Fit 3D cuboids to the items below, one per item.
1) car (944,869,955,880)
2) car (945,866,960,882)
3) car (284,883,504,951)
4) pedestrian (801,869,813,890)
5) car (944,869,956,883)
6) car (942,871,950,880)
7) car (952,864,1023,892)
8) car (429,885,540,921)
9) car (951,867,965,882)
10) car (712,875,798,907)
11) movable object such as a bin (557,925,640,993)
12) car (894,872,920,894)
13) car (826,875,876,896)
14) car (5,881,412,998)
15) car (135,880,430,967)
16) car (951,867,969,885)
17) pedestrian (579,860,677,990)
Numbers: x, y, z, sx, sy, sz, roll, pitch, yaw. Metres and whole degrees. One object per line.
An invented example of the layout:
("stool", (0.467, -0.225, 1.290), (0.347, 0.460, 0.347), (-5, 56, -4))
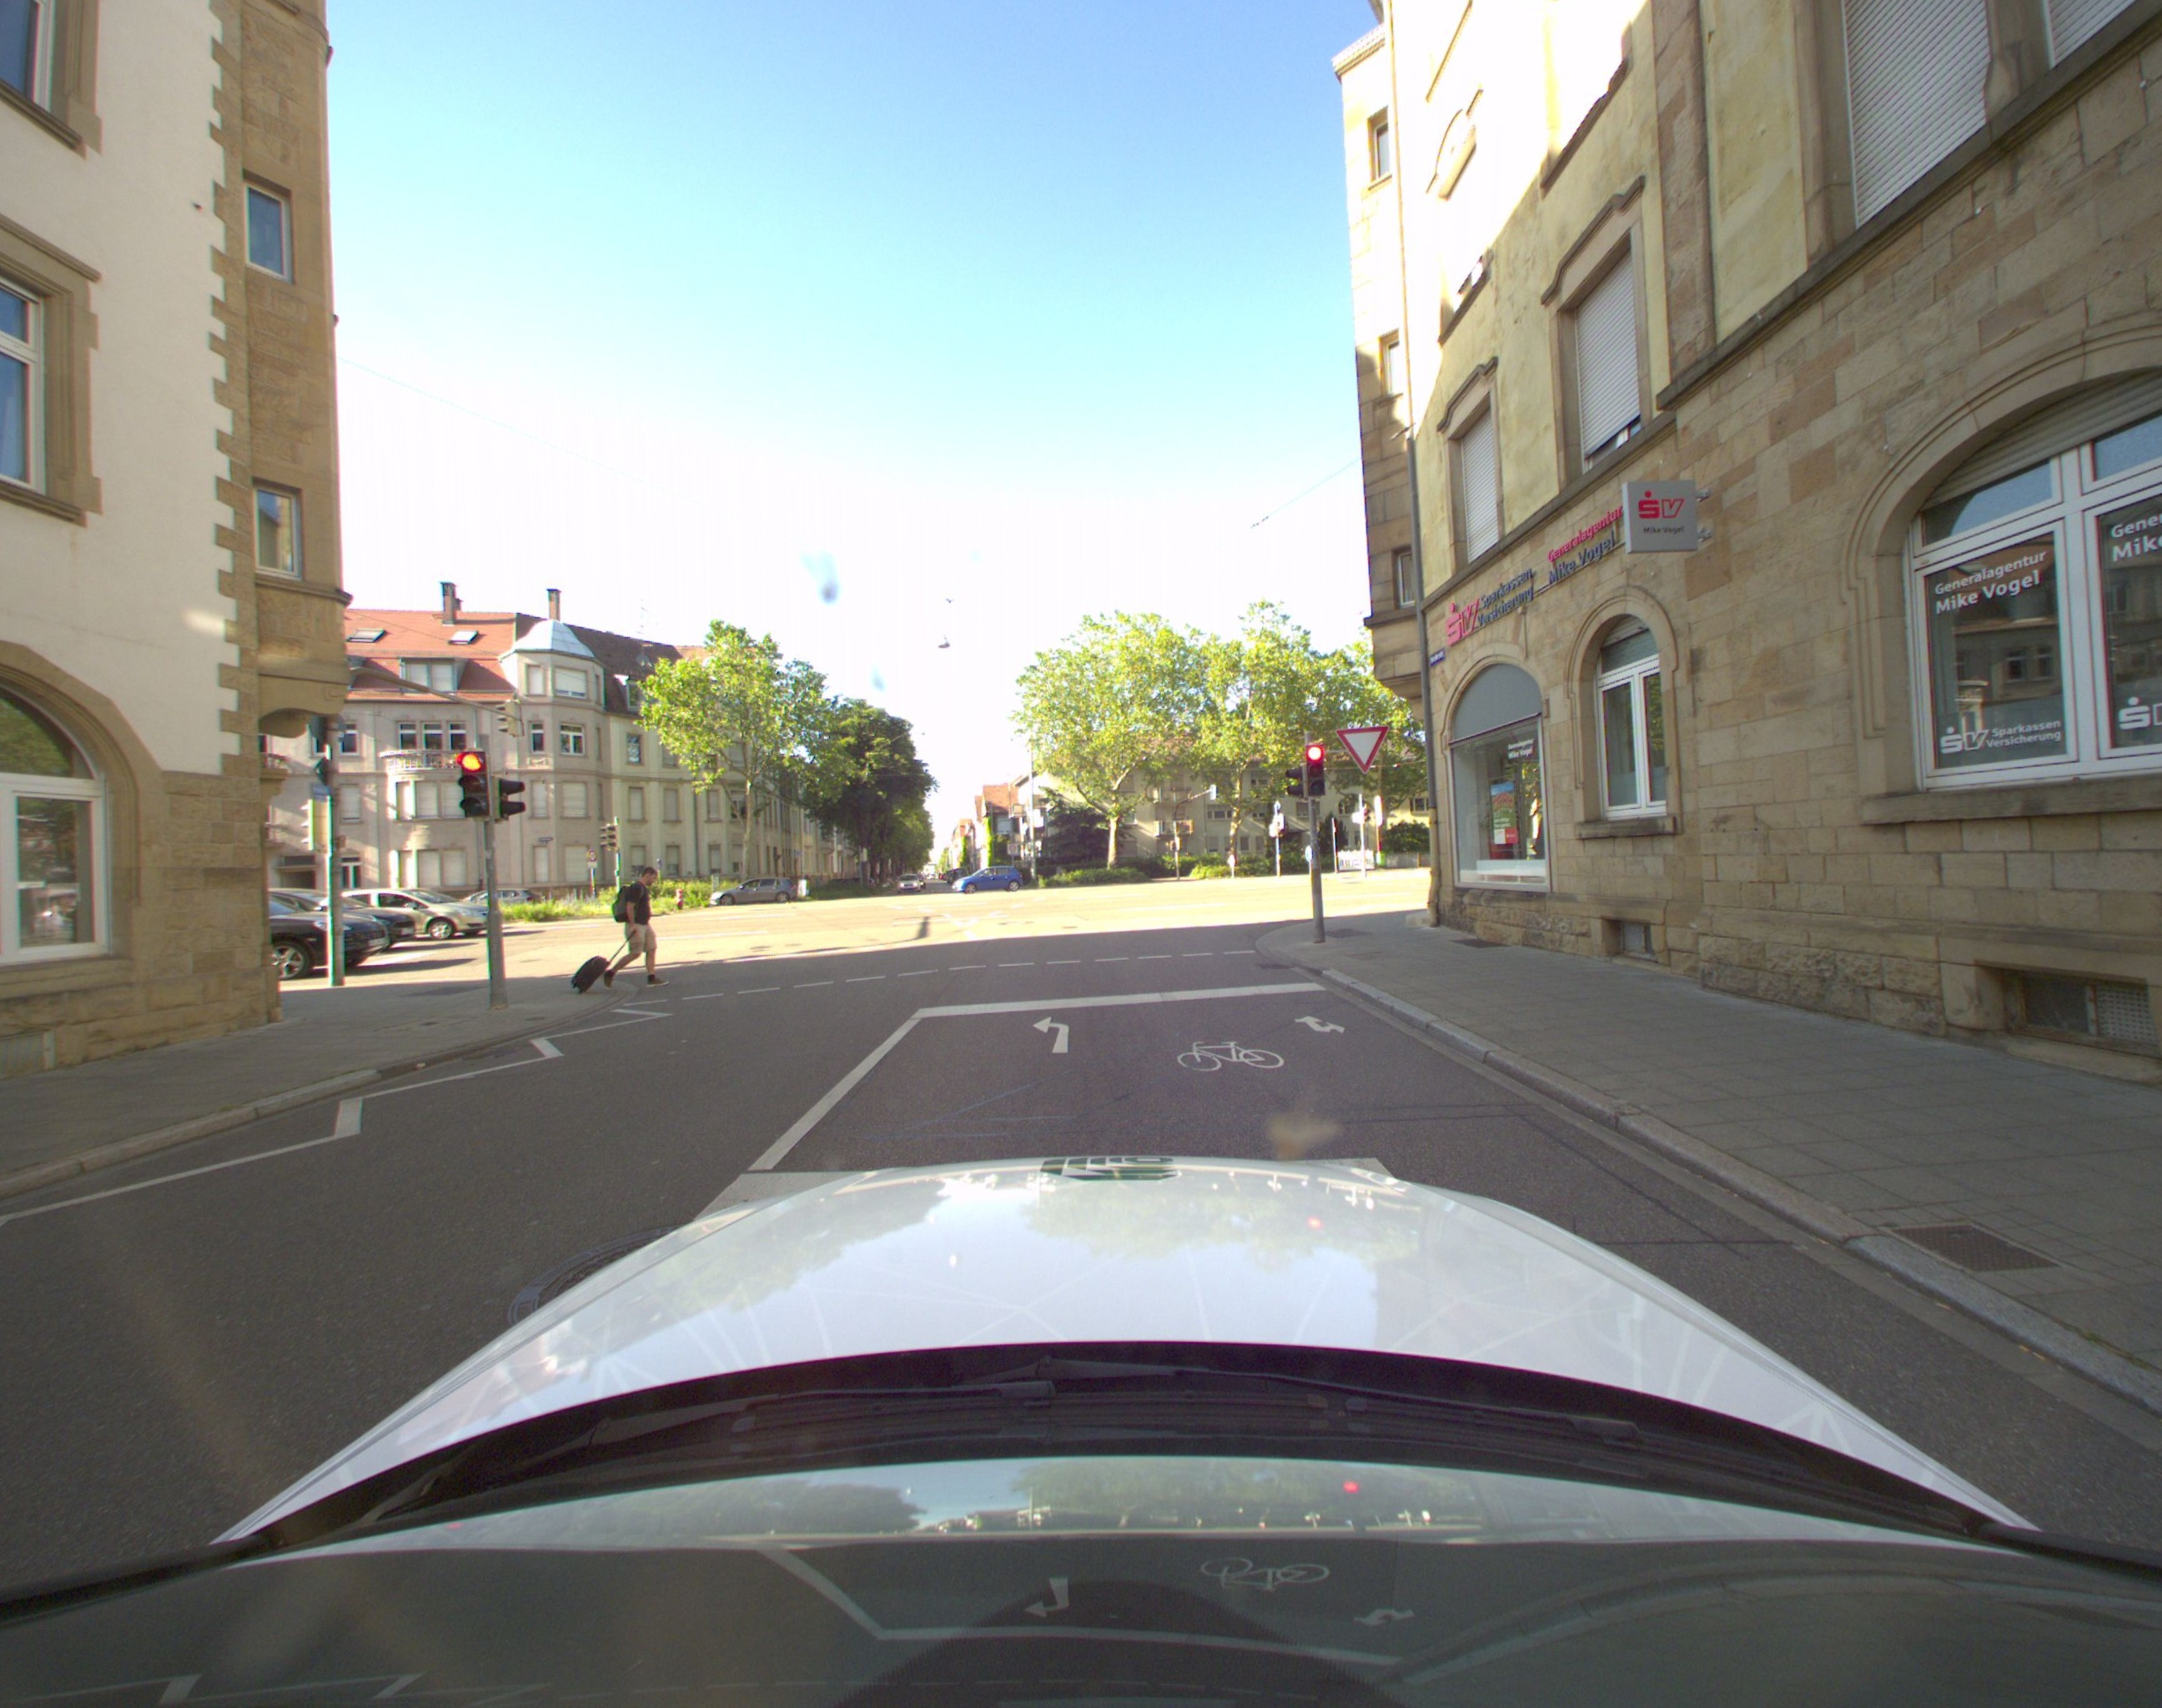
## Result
("car", (-23.752, 3.691, 147.183), (1.773, 1.918, 3.522), (-4, 0, -10))
("car", (-16.564, 2.542, 105.201), (1.773, 1.918, 3.522), (-4, 0, -10))
("car", (-18.590, 1.669, 22.255), (4.207, 1.456, 1.670), (-3, 0, -14))
("pedestrian", (-19.349, 1.798, 57.506), (0.696, 1.442, 0.493), (-1, -1, 28))
("car", (-20.742, 3.468, 128.814), (1.773, 1.918, 3.522), (-4, 0, -10))
("car", (-30.128, 4.794, 181.726), (1.773, 1.918, 3.522), (-4, 0, -10))
("car", (-5.338, 1.372, 46.451), (3.791, 1.400, 1.636), (-2, 0, -18))
("car", (-27.812, 2.273, 38.099), (3.793, 1.400, 1.635), (-2, 0, -20))
("car", (-17.556, 2.884, 115.845), (1.773, 1.918, 3.522), (-4, 0, -10))
("car", (-16.656, 1.855, 41.812), (3.952, 1.400, 1.635), (-2, 0, -20))
("movable object such as a bin", (-6.808, 1.474, 11.514), (0.862, 0.892, 0.507), (1, -1, -11))
("car", (-13.592, 2.264, 63.815), (1.698, 1.483, 3.522), (-4, 0, -10))
("car", (-17.949, 2.468, 63.712), (3.636, 1.457, 1.650), (-2, 0, -14))
("car", (-15.822, 1.469, 15.161), (4.704, 1.694, 2.068), (-2, 0, -17))
("car", (-18.538, 1.561, 19.170), (4.668, 1.664, 1.722), (-2, 0, -14))
("car", (-14.130, 2.505, 94.959), (1.773, 1.918, 3.522), (-4, 0, -10))
("pedestrian", (-6.682, 1.015, 12.063), (1.066, 1.849, 0.746), (0, -1, -11))
